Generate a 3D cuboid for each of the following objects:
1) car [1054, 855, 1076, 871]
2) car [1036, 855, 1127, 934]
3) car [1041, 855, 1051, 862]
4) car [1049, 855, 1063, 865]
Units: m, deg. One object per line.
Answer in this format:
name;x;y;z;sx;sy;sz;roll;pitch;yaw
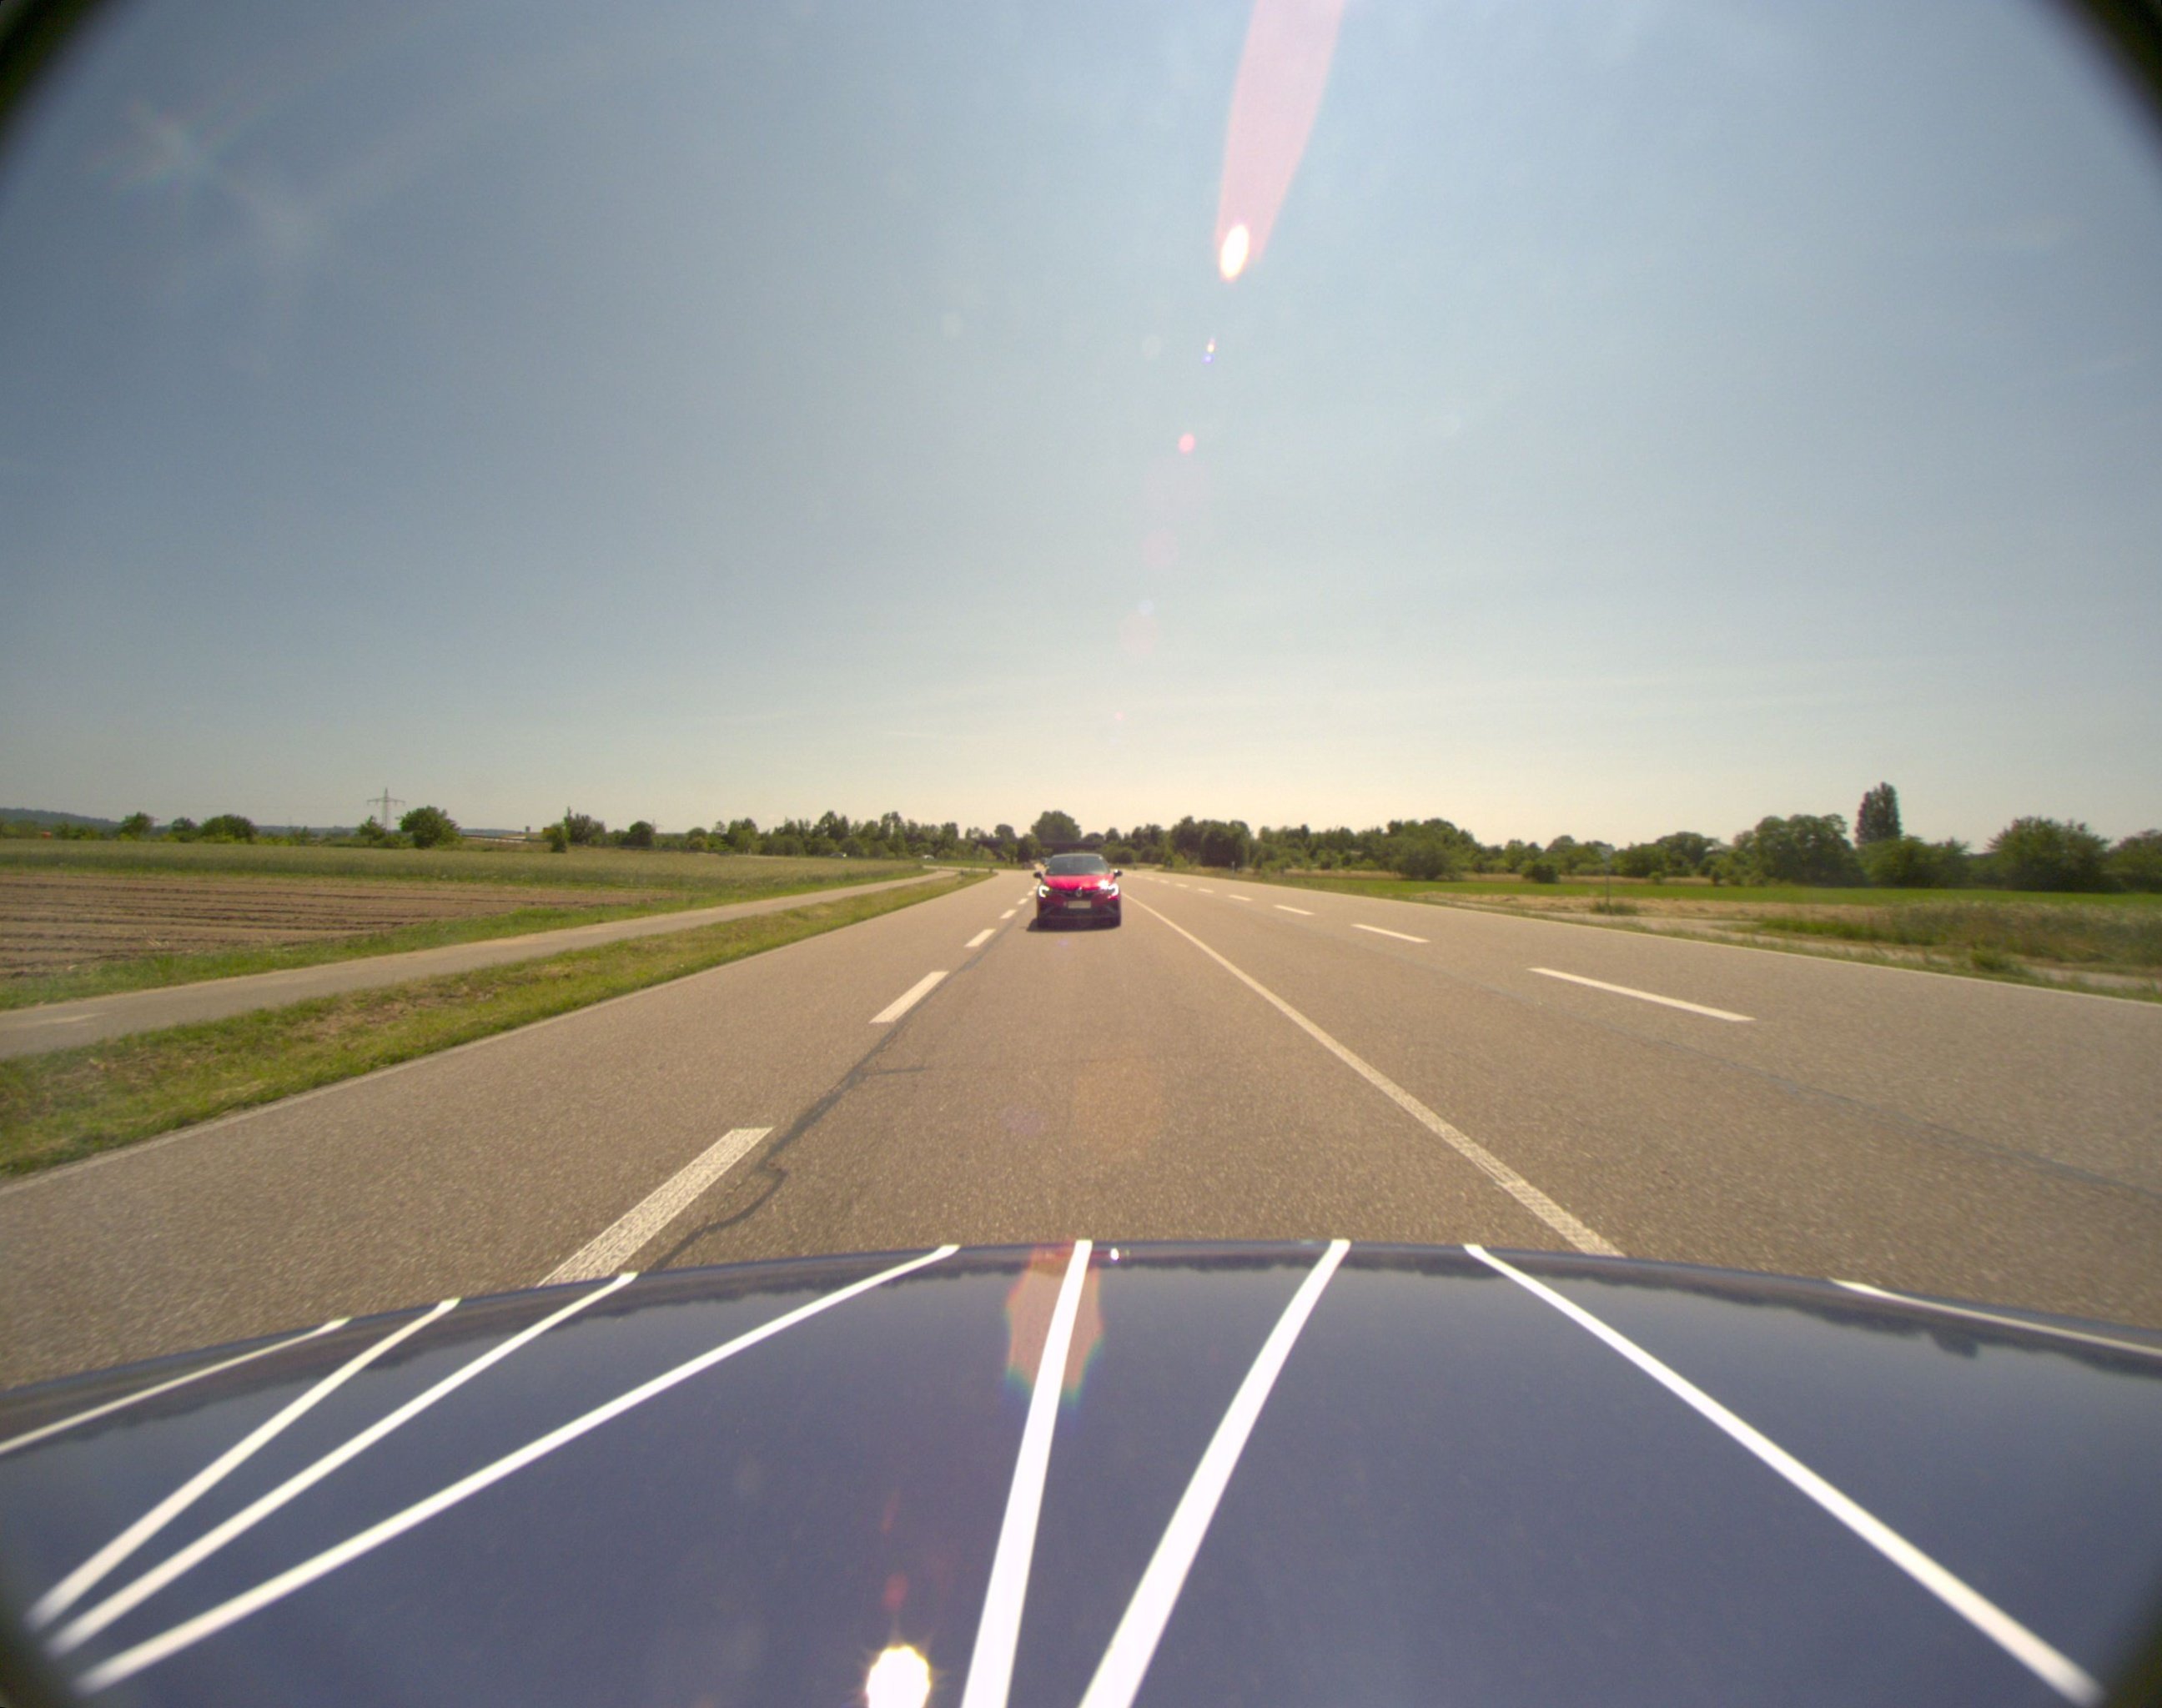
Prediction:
car;-1.566;0.873;78.410;1.983;1.587;5.402;0;0;2
car;0.033;0.824;17.850;1.837;1.587;4.722;0;0;1
car;-8.079;1.050;174.992;1.984;1.587;5.400;0;0;-4
car;-4.228;0.977;127.017;1.984;1.587;5.399;0;0;-5
